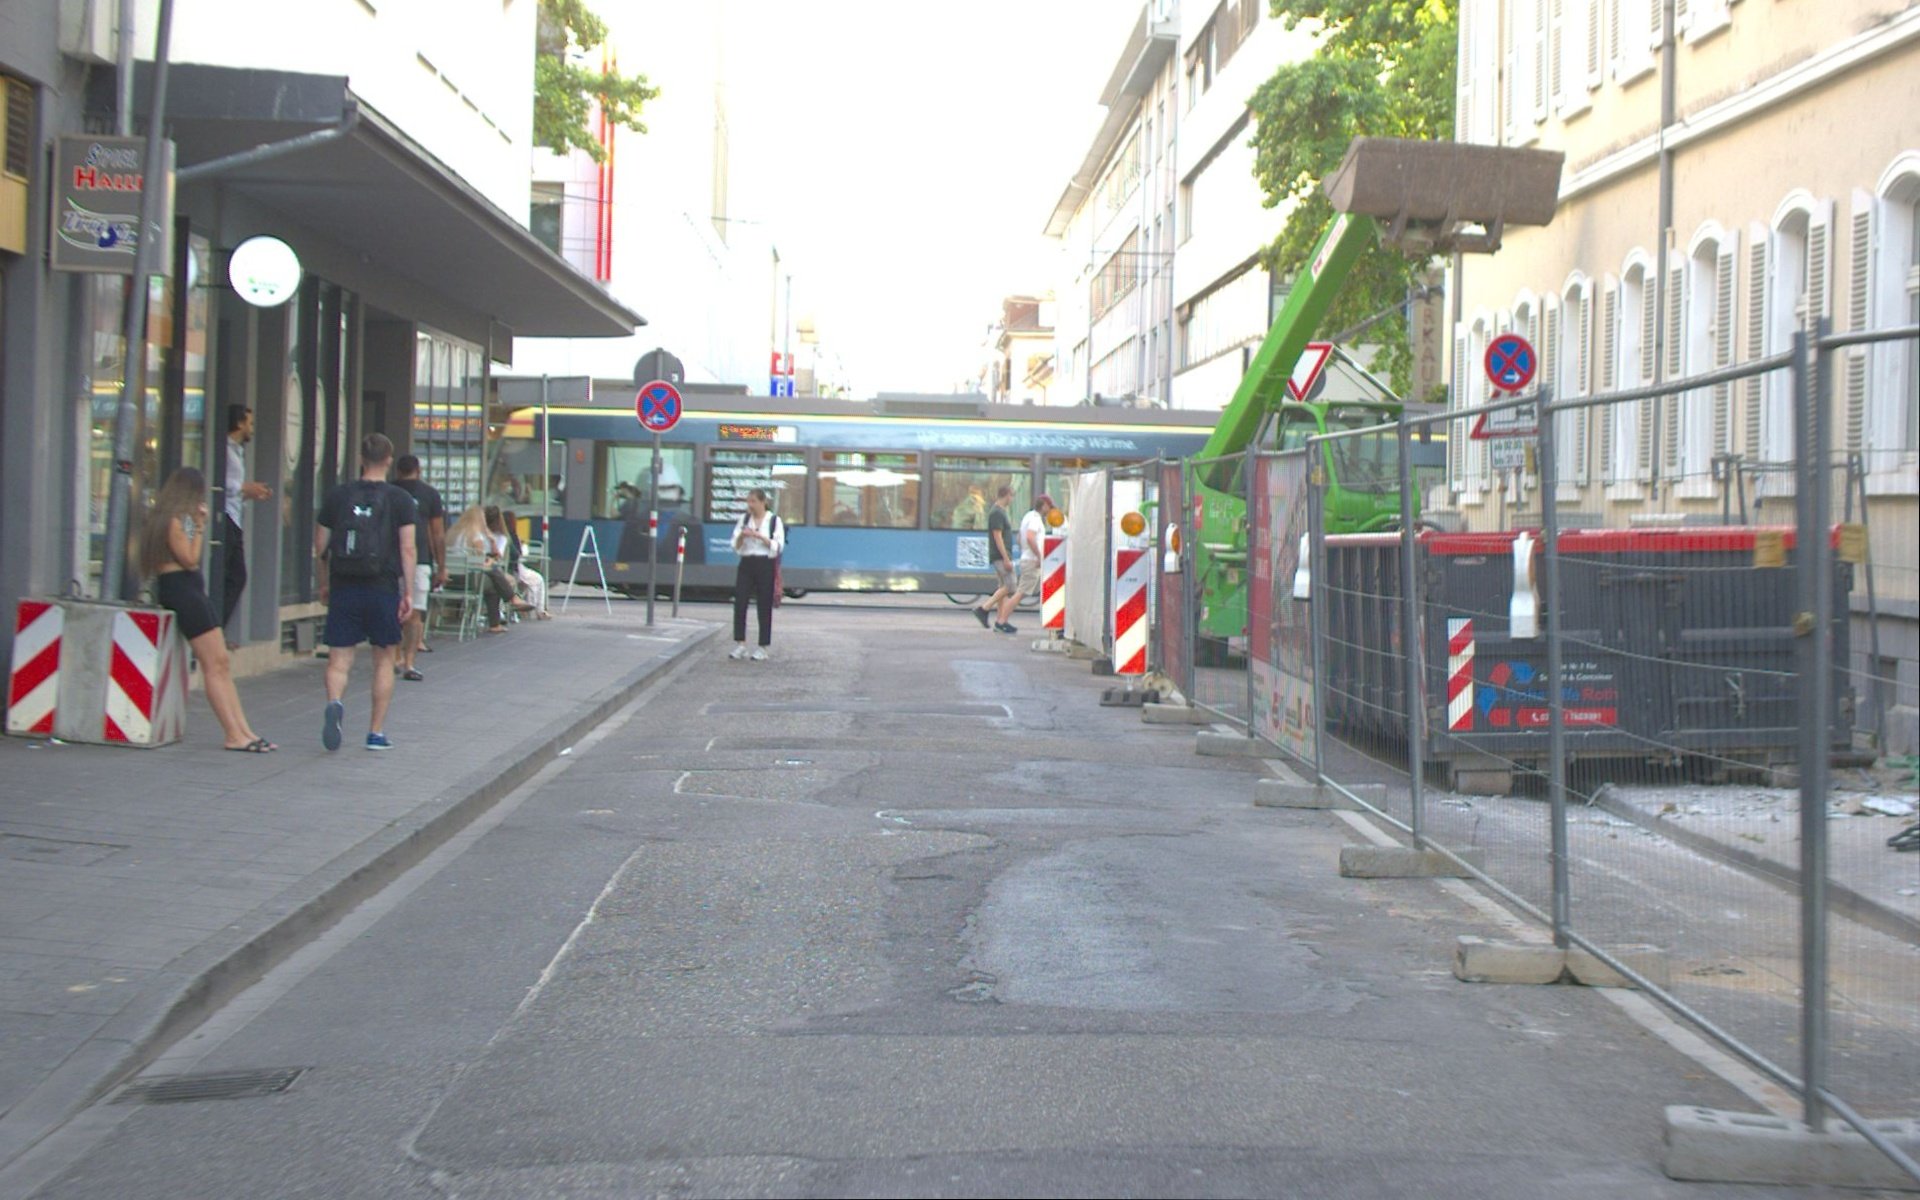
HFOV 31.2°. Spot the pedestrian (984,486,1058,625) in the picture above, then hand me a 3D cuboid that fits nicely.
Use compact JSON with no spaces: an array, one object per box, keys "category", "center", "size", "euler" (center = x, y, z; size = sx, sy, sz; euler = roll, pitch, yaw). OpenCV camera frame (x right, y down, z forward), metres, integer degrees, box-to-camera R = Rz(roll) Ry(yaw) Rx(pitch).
[{"category":"pedestrian","center":[0.763,-0.564,43.449],"size":[0.905,1.733,0.759],"euler":[1,1,0]}]

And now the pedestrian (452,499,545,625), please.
[{"category":"pedestrian","center":[-4.880,-0.402,36.324],"size":[0.704,1.281,0.861],"euler":[2,2,-25]}]

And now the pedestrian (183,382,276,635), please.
[{"category":"pedestrian","center":[-5.300,-0.663,24.955],"size":[0.544,1.804,0.613],"euler":[1,1,-1]}]

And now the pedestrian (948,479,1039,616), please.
[{"category":"pedestrian","center":[0.431,-0.681,44.391],"size":[1.141,1.733,0.759],"euler":[1,1,0]}]

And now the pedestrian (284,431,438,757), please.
[{"category":"pedestrian","center":[-3.402,-0.048,19.578],"size":[0.714,1.804,0.933],"euler":[1,1,-1]}]

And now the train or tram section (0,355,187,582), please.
[{"category":"train or tram section","center":[-18.218,-2.194,55.341],"size":[10.808,3.511,3.014],"euler":[1,1,-2]}]

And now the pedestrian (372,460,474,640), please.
[{"category":"pedestrian","center":[-4.844,-0.453,30.996],"size":[0.656,1.564,0.638],"euler":[2,2,-27]}]

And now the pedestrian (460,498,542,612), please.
[{"category":"pedestrian","center":[-5.092,-0.506,38.147],"size":[0.704,1.191,0.691],"euler":[5,2,2]}]

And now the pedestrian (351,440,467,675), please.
[{"category":"pedestrian","center":[-4.295,-0.337,26.838],"size":[0.704,1.775,0.933],"euler":[2,1,-1]}]

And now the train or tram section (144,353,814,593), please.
[{"category":"train or tram section","center":[-7.620,-2.009,55.585],"size":[10.367,3.511,3.017],"euler":[1,0,-1]}]

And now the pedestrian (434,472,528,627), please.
[{"category":"pedestrian","center":[-4.911,-0.522,35.252],"size":[0.704,1.542,0.861],"euler":[2,1,7]}]

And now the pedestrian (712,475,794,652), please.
[{"category":"pedestrian","center":[-2.049,-0.370,34.087],"size":[0.756,1.733,0.785],"euler":[0,1,-1]}]

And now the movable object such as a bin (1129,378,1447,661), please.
[{"category":"movable object such as a bin","center":[3.509,-0.909,38.070],"size":[2.635,2.862,5.566],"euler":[1,2,-3]}]

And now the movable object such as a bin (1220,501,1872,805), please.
[{"category":"movable object such as a bin","center":[3.672,0.205,23.548],"size":[2.890,1.659,7.295],"euler":[1,2,-3]}]

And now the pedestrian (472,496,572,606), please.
[{"category":"pedestrian","center":[-5.023,-0.558,39.444],"size":[0.705,1.215,0.840],"euler":[3,2,36]}]

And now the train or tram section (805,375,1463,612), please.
[{"category":"train or tram section","center":[2.722,-1.706,55.820],"size":[10.335,3.511,3.027],"euler":[1,1,-1]}]

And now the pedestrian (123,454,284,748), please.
[{"category":"pedestrian","center":[-4.194,-0.001,19.094],"size":[0.708,1.572,0.613],"euler":[3,1,-4]}]

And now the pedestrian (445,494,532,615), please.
[{"category":"pedestrian","center":[-5.106,-0.499,37.281],"size":[0.704,1.235,0.778],"euler":[5,1,2]}]
